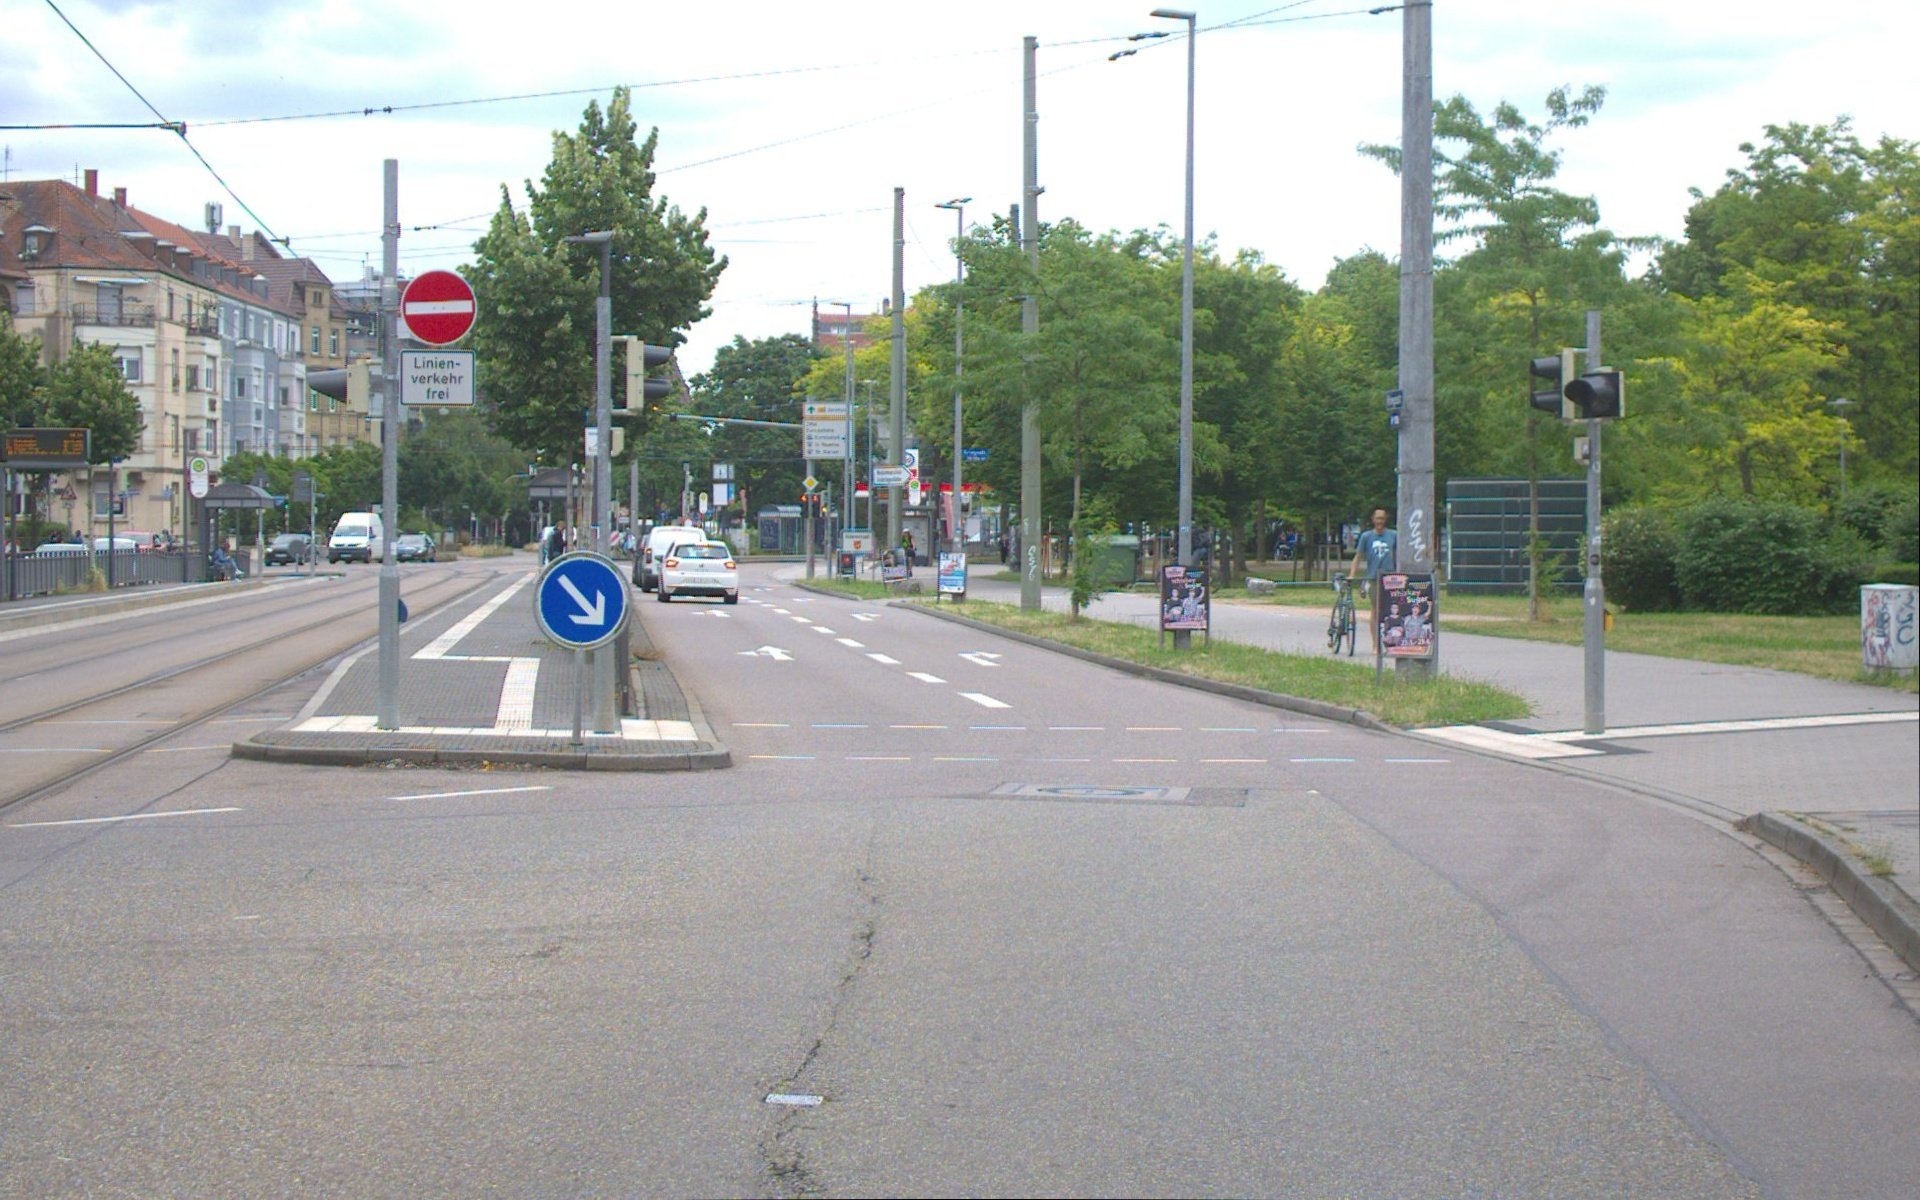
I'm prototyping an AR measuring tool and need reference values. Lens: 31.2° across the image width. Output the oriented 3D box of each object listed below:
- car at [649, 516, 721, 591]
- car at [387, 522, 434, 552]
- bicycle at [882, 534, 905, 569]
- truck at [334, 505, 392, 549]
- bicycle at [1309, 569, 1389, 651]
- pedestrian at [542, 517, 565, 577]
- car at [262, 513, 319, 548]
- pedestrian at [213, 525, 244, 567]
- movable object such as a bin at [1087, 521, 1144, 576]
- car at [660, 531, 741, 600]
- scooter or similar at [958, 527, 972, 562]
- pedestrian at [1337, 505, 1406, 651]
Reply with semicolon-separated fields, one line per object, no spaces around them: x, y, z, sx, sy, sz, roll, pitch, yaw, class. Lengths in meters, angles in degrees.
-7.537;-1.292;93.898;1.782;1.956;4.383;1;1;-7;car
-28.380;-3.243;177.650;1.770;1.488;3.887;0;1;0;car
-2.215;-1.611;114.599;0.679;1.151;1.898;0;1;-4;bicycle
-28.468;-3.481;164.113;1.788;2.025;5.396;0;1;0;truck
4.990;0.121;44.174;0.654;0.999;1.779;0;1;-6;bicycle
-10.429;-1.361;88.197;0.532;1.552;0.571;0;1;-2;pedestrian
-29.597;-3.061;152.033;1.770;1.488;3.887;0;1;0;car
-22.044;-1.618;103.656;0.864;1.262;0.694;0;1;-8;pedestrian
3.981;-1.320;88.140;1.282;1.385;1.159;0;1;-5;movable object such as a bin
-5.878;-0.801;77.740;1.782;1.467;4.011;1;1;-5;car
0.155;-1.840;114.116;0.376;1.137;1.199;0;1;5;scooter or similar
5.284;-0.288;44.187;0.739;1.863;0.682;0;1;-7;pedestrian
